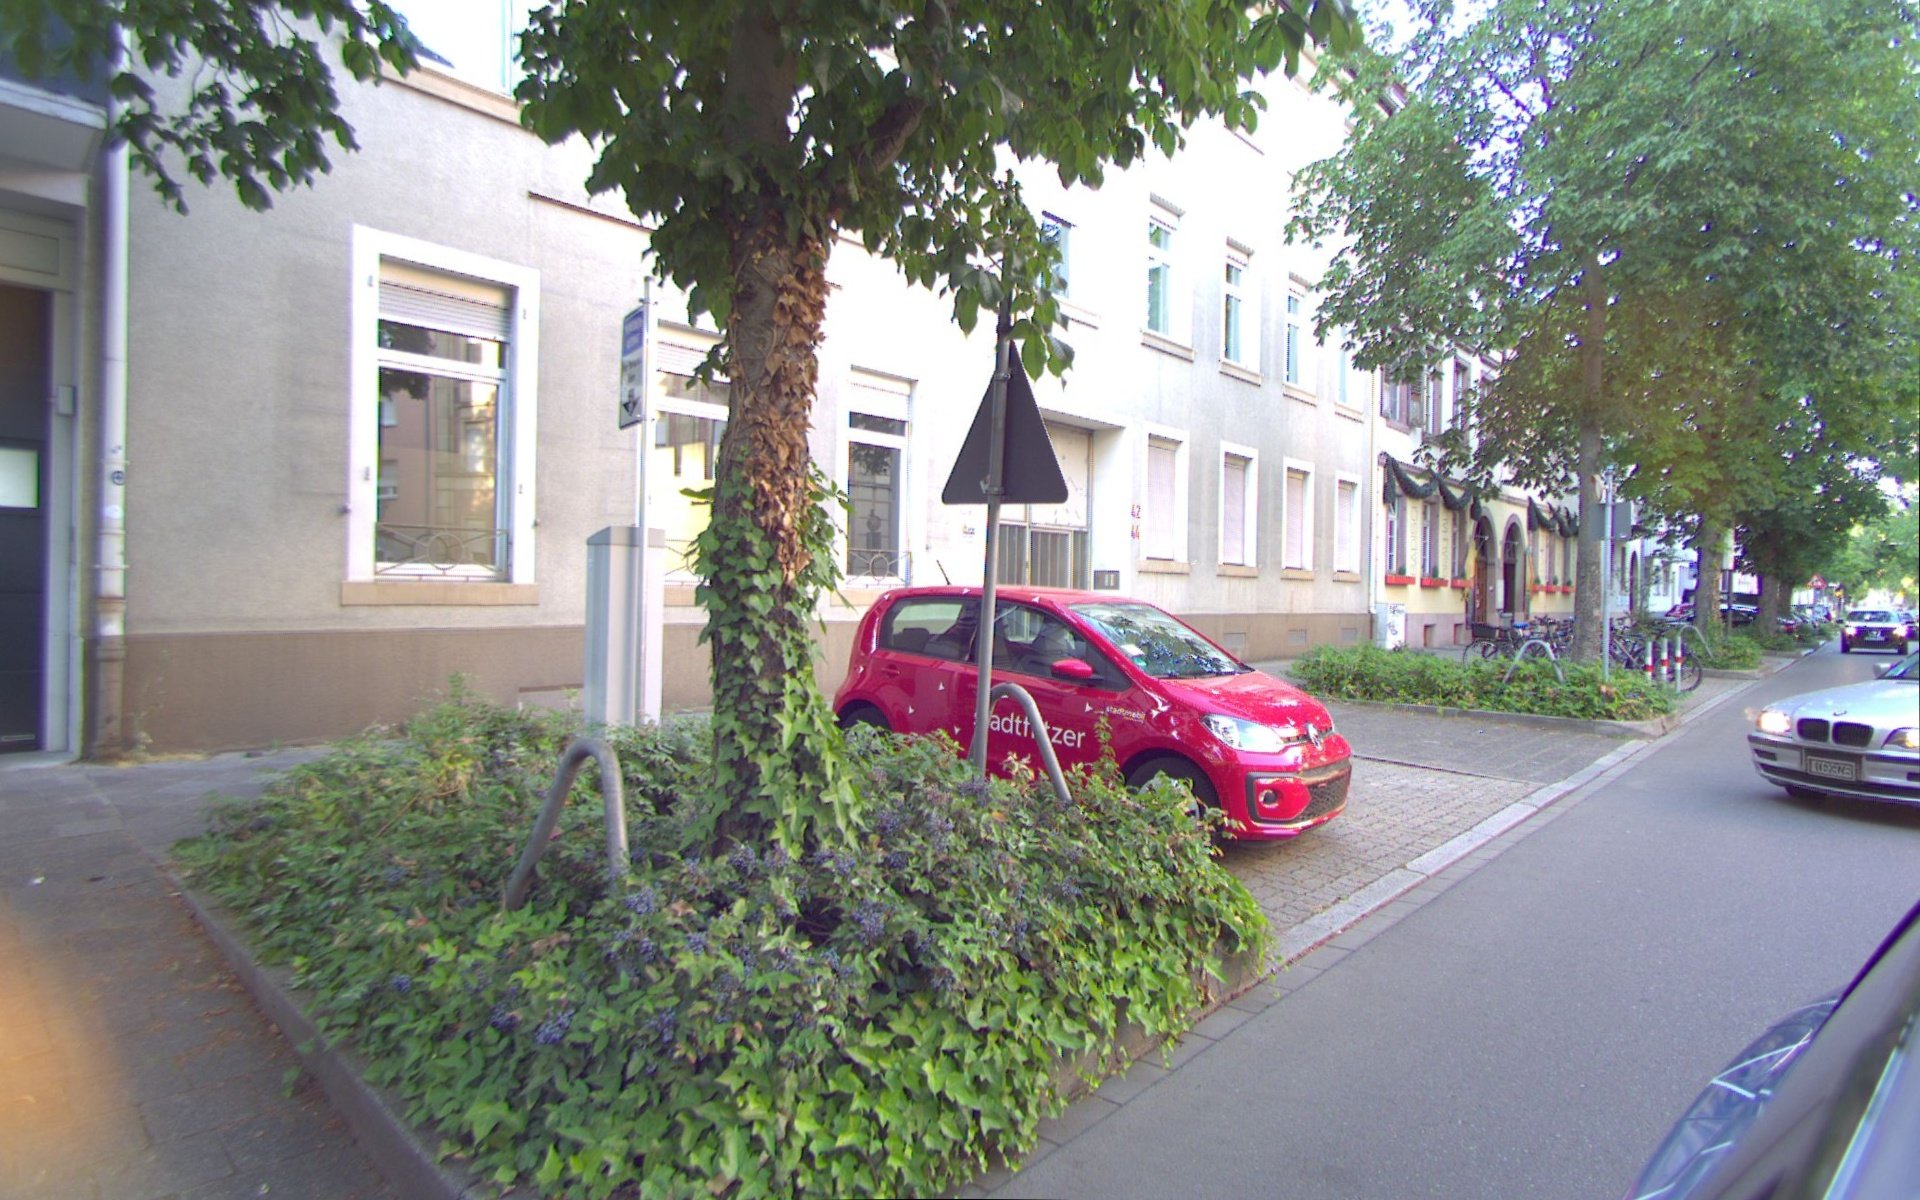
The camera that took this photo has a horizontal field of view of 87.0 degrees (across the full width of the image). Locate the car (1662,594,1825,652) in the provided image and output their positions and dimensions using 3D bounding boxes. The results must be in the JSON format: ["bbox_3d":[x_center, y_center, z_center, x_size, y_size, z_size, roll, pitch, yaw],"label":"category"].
[{"bbox_3d":[26.615,0.729,34.454,4.232,1.761,1.715,2,1,43],"label":"car"}]

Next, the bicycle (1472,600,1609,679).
[{"bbox_3d":[10.085,0.655,17.624,2.014,1.242,0.529,2,1,33],"label":"bicycle"}]

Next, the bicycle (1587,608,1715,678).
[{"bbox_3d":[13.472,0.805,19.768,2.019,1.242,0.528,2,1,39],"label":"bicycle"}]

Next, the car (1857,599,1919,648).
[{"bbox_3d":[32.969,0.789,35.656,1.802,1.571,3.935,2,1,45],"label":"car"}]

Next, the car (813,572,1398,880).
[{"bbox_3d":[0.804,0.584,6.810,3.608,1.495,1.639,2,1,42],"label":"car"}]

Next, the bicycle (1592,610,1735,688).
[{"bbox_3d":[12.356,0.829,17.821,2.019,1.242,0.528,2,1,39],"label":"bicycle"}]

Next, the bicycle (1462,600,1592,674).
[{"bbox_3d":[10.301,0.646,18.433,2.014,1.242,0.529,2,1,33],"label":"bicycle"}]

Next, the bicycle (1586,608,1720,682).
[{"bbox_3d":[12.991,0.815,19.014,2.019,1.242,0.528,2,1,39],"label":"bicycle"}]

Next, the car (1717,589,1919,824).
[{"bbox_3d":[8.051,0.681,7.216,4.344,1.460,1.716,1,1,-10],"label":"car"}]

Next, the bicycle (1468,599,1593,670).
[{"bbox_3d":[10.932,0.634,19.428,2.017,1.242,0.529,2,1,37],"label":"bicycle"}]

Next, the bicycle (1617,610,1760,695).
[{"bbox_3d":[11.854,0.827,16.534,1.835,1.242,0.529,2,1,33],"label":"bicycle"}]
